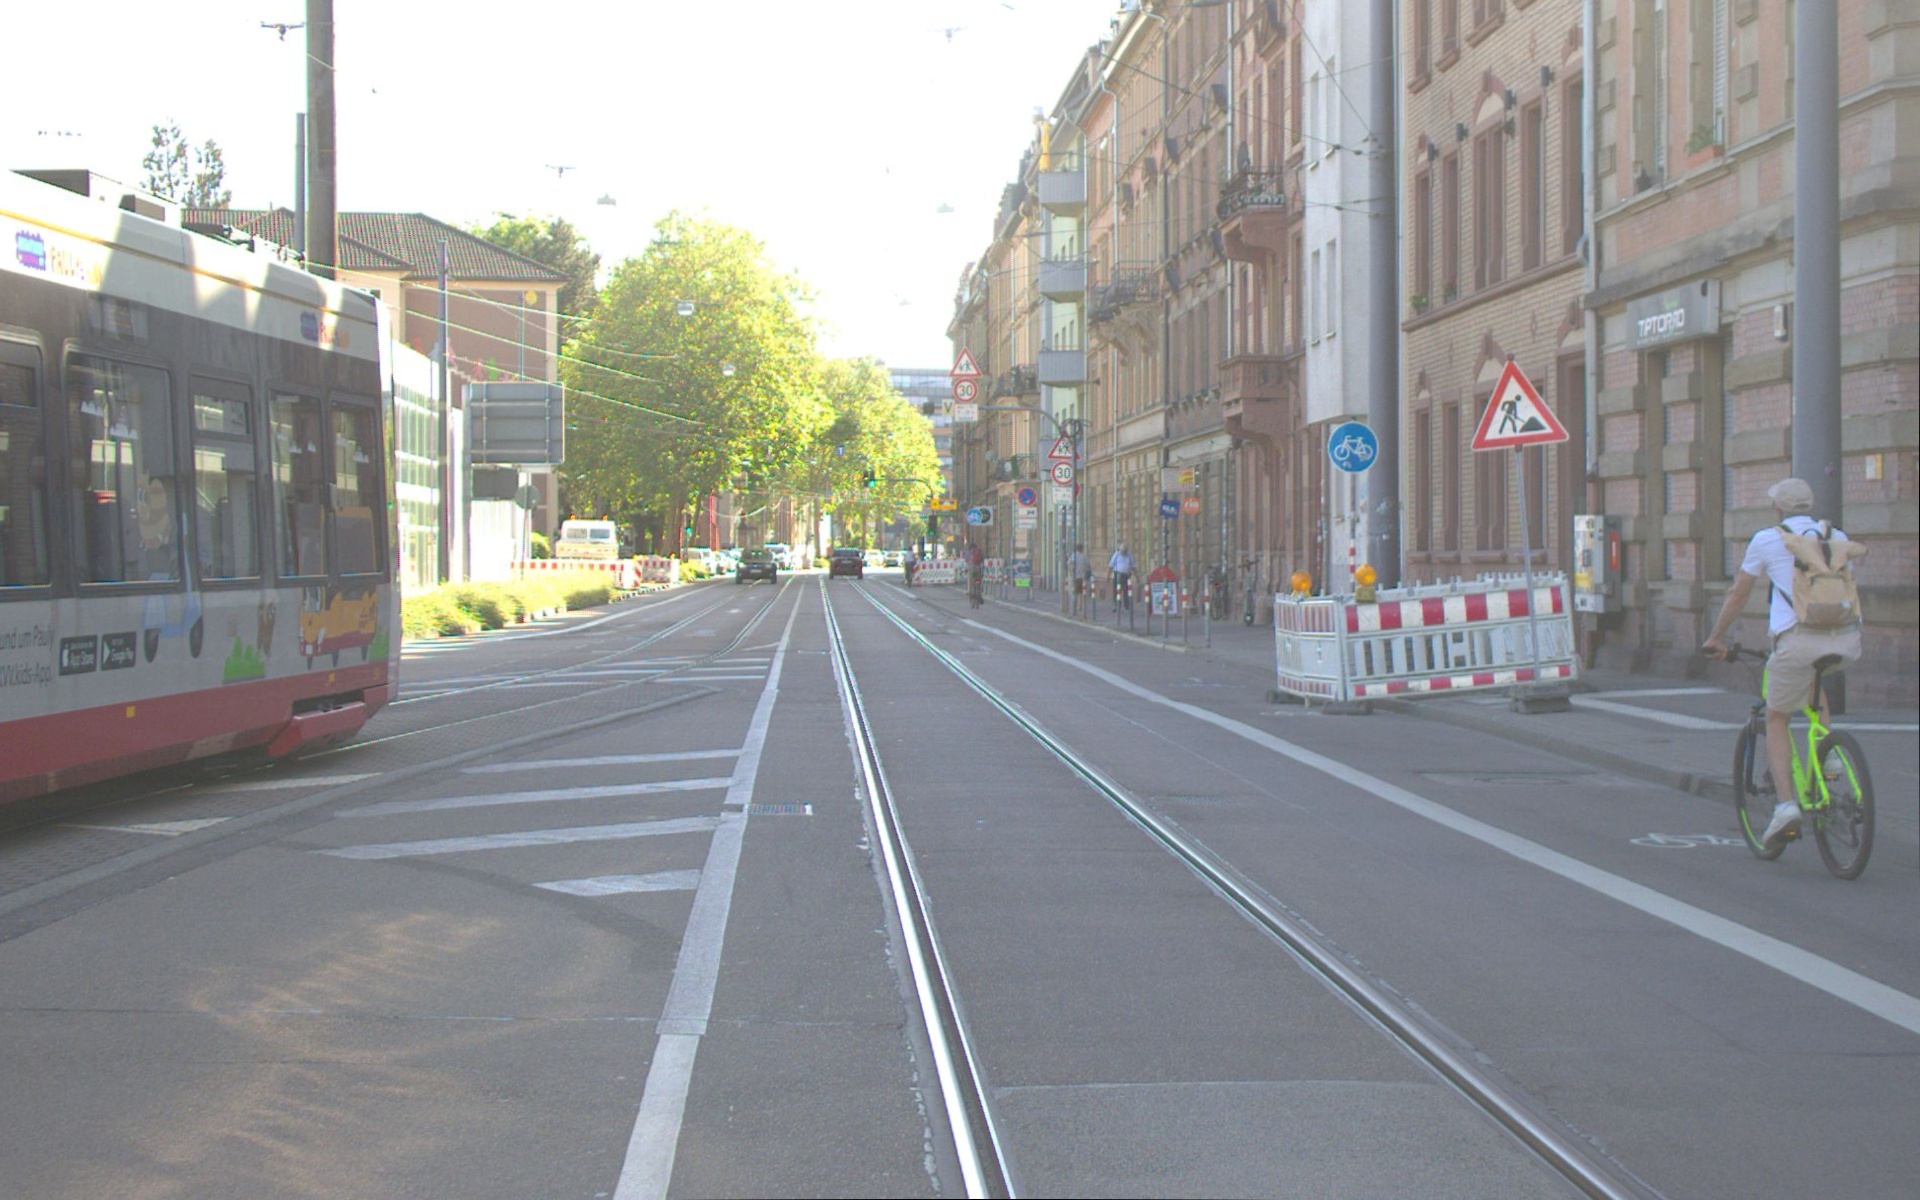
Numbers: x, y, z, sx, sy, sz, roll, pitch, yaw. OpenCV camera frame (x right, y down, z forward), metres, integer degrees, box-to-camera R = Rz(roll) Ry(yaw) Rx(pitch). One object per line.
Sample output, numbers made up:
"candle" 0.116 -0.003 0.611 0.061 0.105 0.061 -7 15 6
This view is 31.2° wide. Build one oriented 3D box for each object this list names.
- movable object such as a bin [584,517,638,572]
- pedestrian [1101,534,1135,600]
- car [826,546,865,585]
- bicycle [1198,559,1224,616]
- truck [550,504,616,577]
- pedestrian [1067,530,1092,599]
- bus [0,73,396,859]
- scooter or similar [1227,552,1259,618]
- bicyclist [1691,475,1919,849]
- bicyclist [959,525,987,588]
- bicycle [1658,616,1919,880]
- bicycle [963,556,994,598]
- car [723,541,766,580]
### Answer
"movable object such as a bin" -17.339 -2.748 170.942 2.494 2.636 5.990 2 1 -5
"pedestrian" 3.786 -0.790 82.499 0.798 1.599 0.652 0 0 0
"car" -6.131 -1.823 184.471 1.993 2.007 4.000 2 0 -2
"bicycle" 5.094 -0.253 69.800 0.410 1.117 1.898 -2 0 2
"truck" -15.333 -2.393 139.922 2.537 2.820 6.377 2 0 -6
"pedestrian" 2.976 -0.884 85.837 0.553 1.695 0.474 -2 0 4
"bus" -5.677 -0.669 19.117 2.841 3.577 11.270 1 1 2
"scooter or similar" 5.238 -0.282 63.695 0.406 1.207 1.480 -1 0 -2
"bicyclist" 3.954 0.278 16.147 0.681 1.678 1.120 2 0 -5
"bicyclist" 0.360 -1.187 94.340 0.667 1.691 1.043 2 0 -3
"bicycle" 3.891 0.666 16.284 0.531 1.113 1.934 2 1 -7
"bicycle" 0.494 -0.644 94.264 0.681 1.110 2.707 2 0 -3
"car" -9.738 -1.778 155.462 1.759 1.691 4.144 2 0 -1
